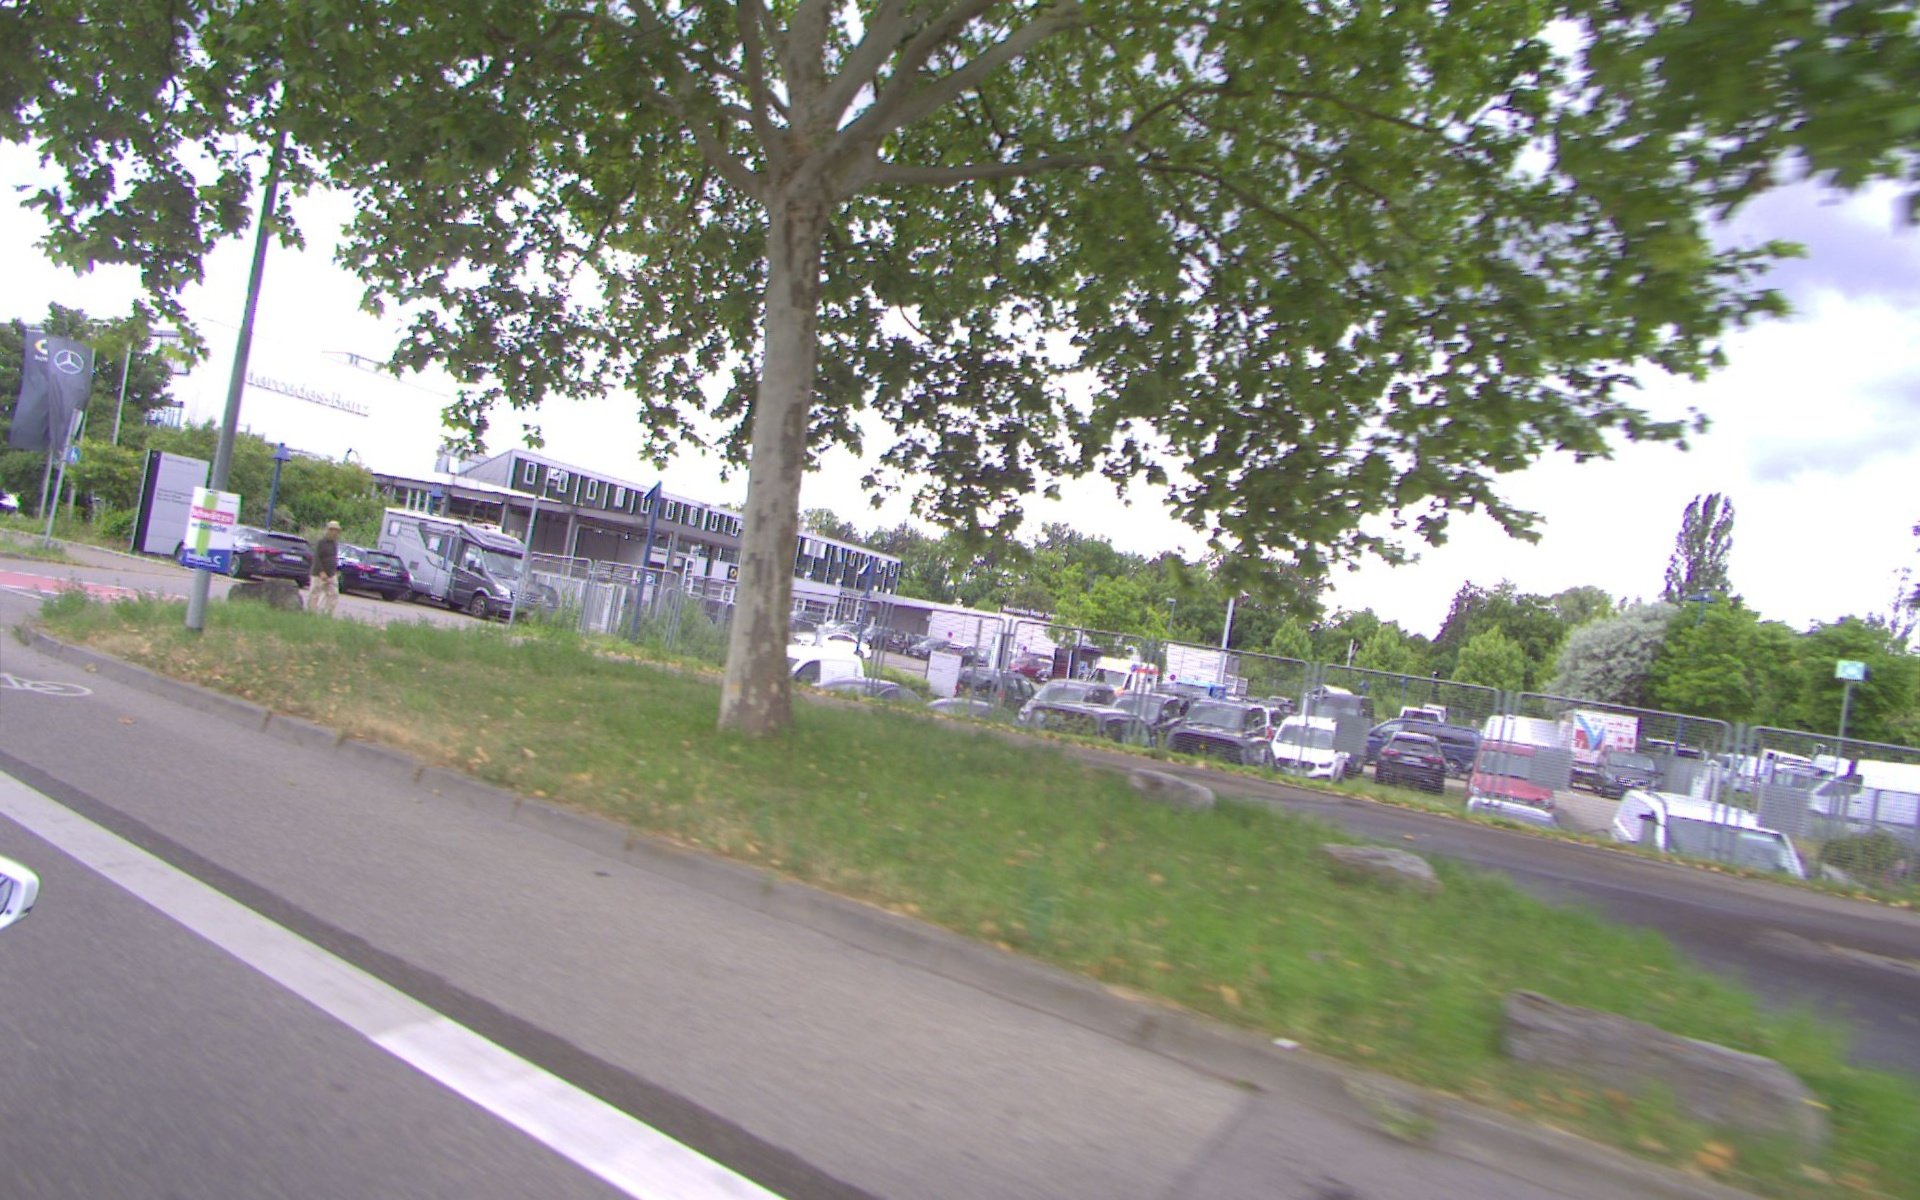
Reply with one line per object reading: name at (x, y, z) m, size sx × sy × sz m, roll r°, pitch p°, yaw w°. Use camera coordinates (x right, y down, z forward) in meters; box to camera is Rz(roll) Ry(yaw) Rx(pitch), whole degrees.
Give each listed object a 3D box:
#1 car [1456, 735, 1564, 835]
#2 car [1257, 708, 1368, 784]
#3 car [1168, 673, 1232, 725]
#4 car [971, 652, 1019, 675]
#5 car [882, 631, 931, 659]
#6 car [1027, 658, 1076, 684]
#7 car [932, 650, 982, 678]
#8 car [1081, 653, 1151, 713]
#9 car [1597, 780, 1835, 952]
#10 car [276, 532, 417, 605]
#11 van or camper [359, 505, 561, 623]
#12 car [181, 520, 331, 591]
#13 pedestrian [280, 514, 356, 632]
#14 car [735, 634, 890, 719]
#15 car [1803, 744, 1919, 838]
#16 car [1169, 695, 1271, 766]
car at (13.636, 4.461, 24.910) m, size 1.966 × 1.903 × 3.997 m, roll 7°, pitch -2°, yaw 30°
car at (9.555, 3.881, 27.075) m, size 1.966 × 1.569 × 3.997 m, roll 7°, pitch -2°, yaw 30°
car at (11.491, 4.739, 47.988) m, size 1.705 × 2.137 × 3.997 m, roll 7°, pitch -2°, yaw 30°
car at (2.512, 4.512, 71.649) m, size 1.597 × 1.169 × 3.645 m, roll 7°, pitch -3°, yaw 35°
car at (-3.973, 3.368, 75.117) m, size 1.597 × 1.545 × 3.645 m, roll 7°, pitch -2°, yaw 35°
car at (6.256, 4.857, 68.606) m, size 1.597 × 1.349 × 3.645 m, roll 7°, pitch -3°, yaw 35°
car at (-0.165, 4.544, 71.696) m, size 1.597 × 1.545 × 3.645 m, roll 7°, pitch -2°, yaw 35°
car at (7.722, 4.122, 49.480) m, size 1.705 × 2.597 × 4.112 m, roll 8°, pitch -2°, yaw 30°
car at (11.286, 3.872, 15.374) m, size 1.964 × 1.636 × 4.001 m, roll 8°, pitch -2°, yaw 26°
car at (-18.575, -0.963, 30.417) m, size 4.271 × 1.524 × 1.716 m, roll 7°, pitch -3°, yaw 31°
van or camper at (-16.150, -1.211, 32.356) m, size 6.799 × 2.902 × 1.970 m, roll 8°, pitch -1°, yaw 28°
car at (-19.615, -1.251, 27.990) m, size 4.271 × 1.370 × 1.714 m, roll 7°, pitch -1°, yaw 31°
pedestrian at (-10.665, -0.449, 16.735) m, size 0.740 × 1.822 × 0.857 m, roll 8°, pitch -1°, yaw -25°
car at (-3.398, 1.850, 23.834) m, size 1.661 × 1.636 × 3.747 m, roll 8°, pitch -2°, yaw 26°
car at (28.903, 5.959, 30.785) m, size 4.351 × 2.342 × 2.008 m, roll 4°, pitch -11°, yaw 28°
car at (7.510, 3.688, 28.820) m, size 1.964 × 1.569 × 4.001 m, roll 8°, pitch -2°, yaw 25°
